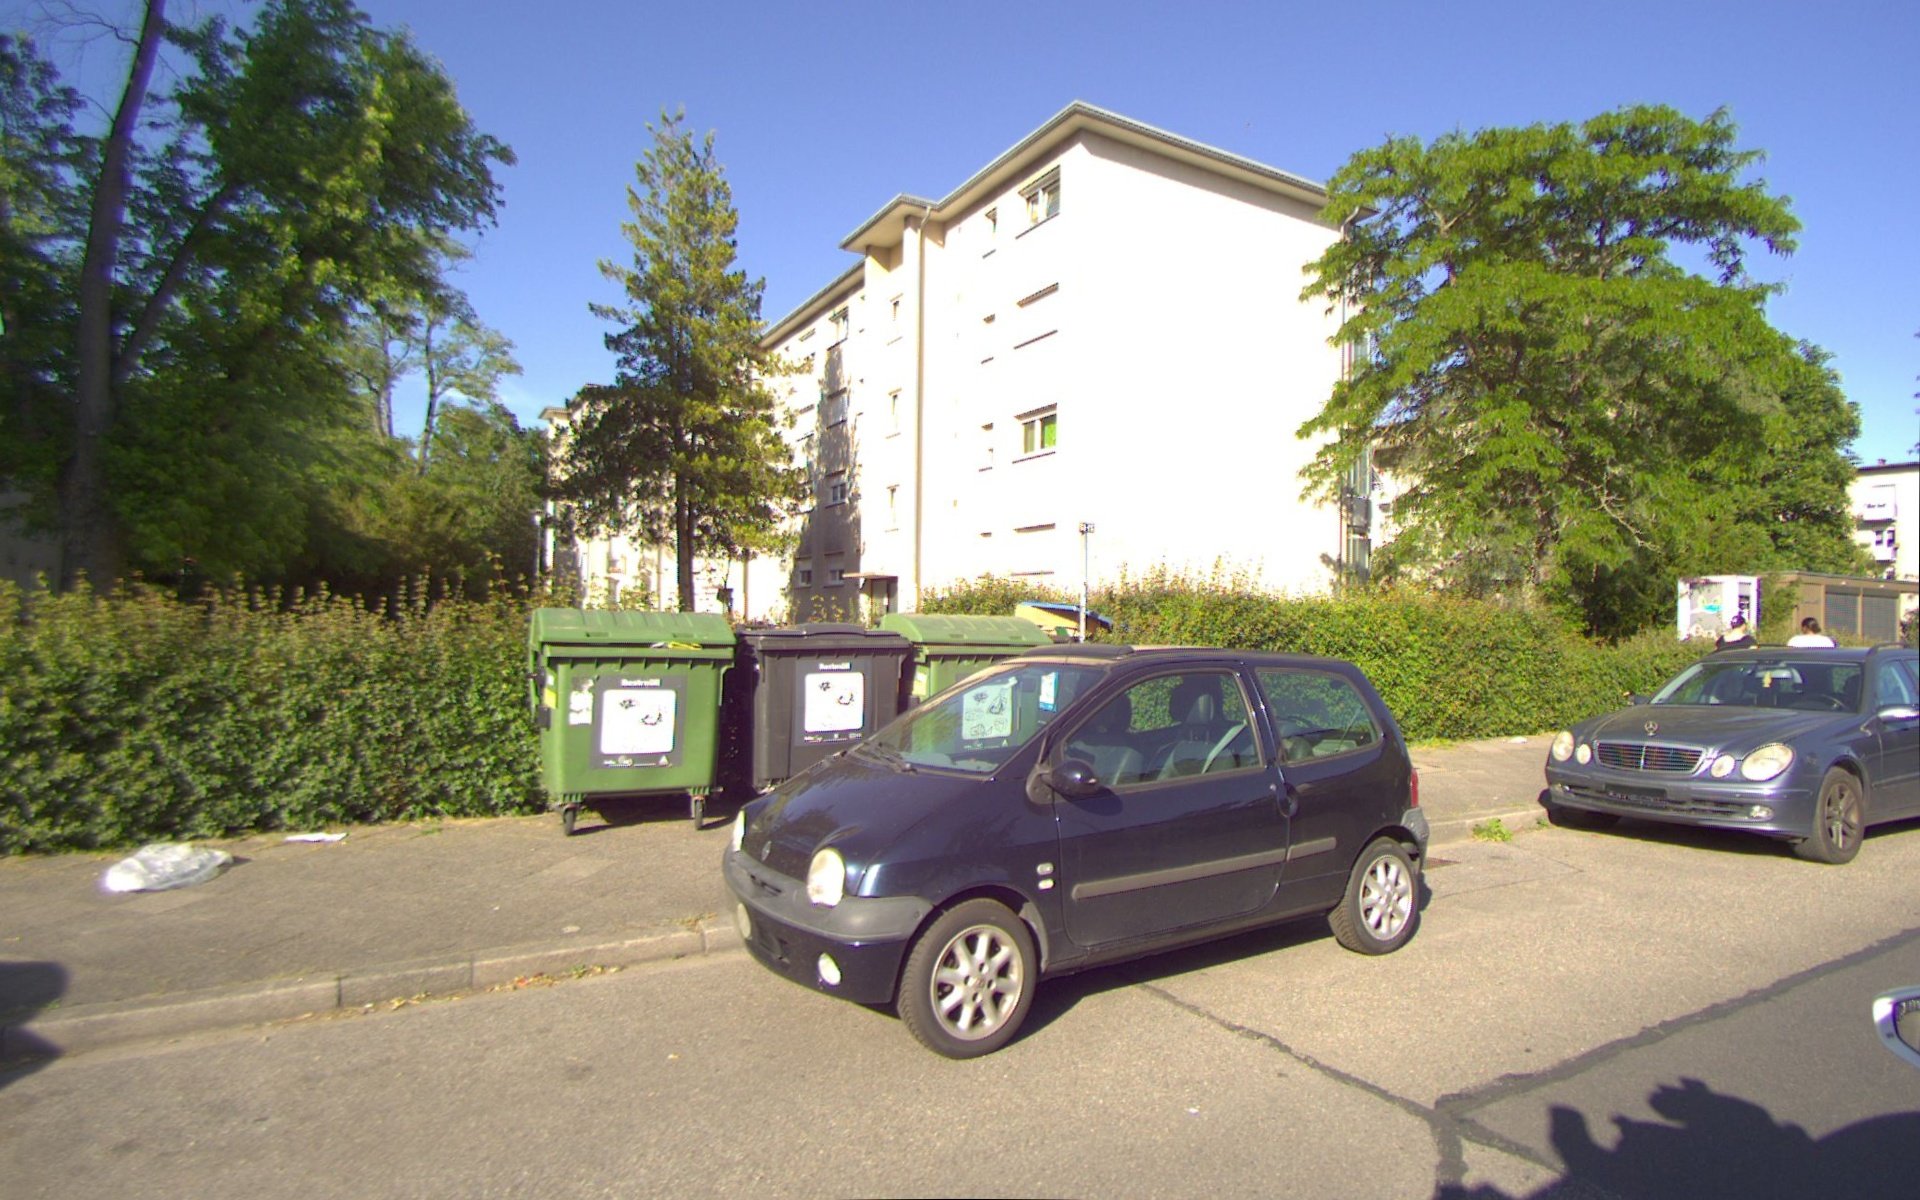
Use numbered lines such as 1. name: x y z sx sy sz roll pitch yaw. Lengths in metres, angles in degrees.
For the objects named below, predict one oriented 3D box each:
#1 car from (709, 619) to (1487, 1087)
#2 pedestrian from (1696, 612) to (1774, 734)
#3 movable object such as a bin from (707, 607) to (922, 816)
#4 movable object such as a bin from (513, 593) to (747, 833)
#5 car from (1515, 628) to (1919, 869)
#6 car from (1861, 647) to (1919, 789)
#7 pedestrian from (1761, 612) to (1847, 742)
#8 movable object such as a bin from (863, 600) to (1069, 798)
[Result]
1. car: 0.744 0.873 4.820 3.456 1.483 1.640 2 -2 -31
2. pedestrian: 11.212 1.035 14.541 0.593 1.701 0.717 2 -1 -30
3. movable object such as a bin: -1.132 0.788 7.696 1.243 1.384 1.113 2 2 -32
4. movable object such as a bin: -2.255 0.710 6.846 1.312 1.434 0.889 2 2 -32
5. car: 6.897 1.074 8.269 4.840 1.509 1.747 2 -4 -29
6. car: 11.817 1.267 10.893 4.159 1.443 1.747 2 -4 -29
7. pedestrian: 11.436 1.017 13.618 0.609 1.701 0.717 2 -1 -30
8. movable object such as a bin: 0.037 0.758 8.237 1.312 1.434 0.996 2 2 -32
